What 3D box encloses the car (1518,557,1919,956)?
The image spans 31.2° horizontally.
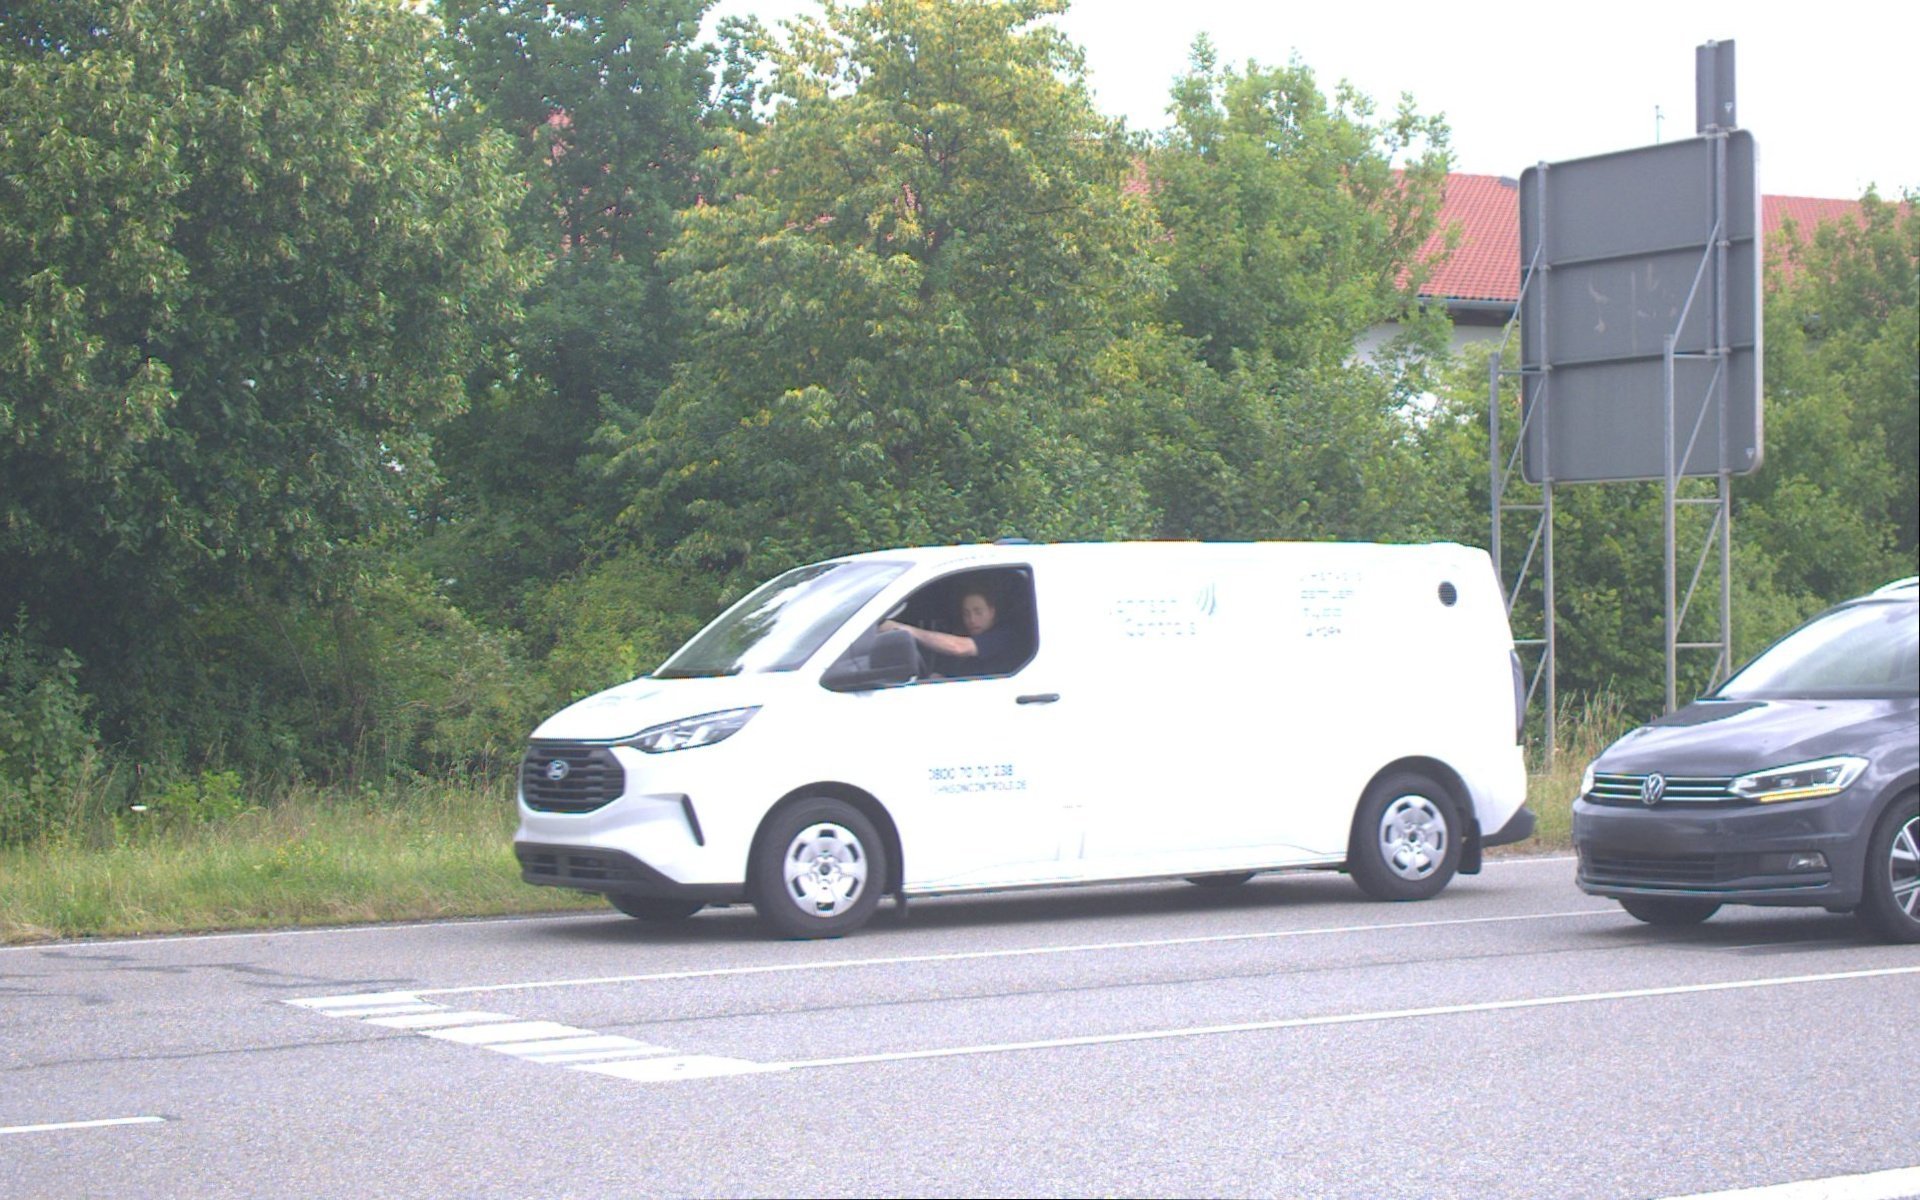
[{"bbox_3d":[4.867,0.641,16.127,4.276,1.653,1.754,-1,-1,-31],"label":"car"}]

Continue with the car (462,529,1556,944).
[{"bbox_3d":[0.325,0.604,17.959,5.373,1.879,2.113,-1,0,-30],"label":"car"}]
